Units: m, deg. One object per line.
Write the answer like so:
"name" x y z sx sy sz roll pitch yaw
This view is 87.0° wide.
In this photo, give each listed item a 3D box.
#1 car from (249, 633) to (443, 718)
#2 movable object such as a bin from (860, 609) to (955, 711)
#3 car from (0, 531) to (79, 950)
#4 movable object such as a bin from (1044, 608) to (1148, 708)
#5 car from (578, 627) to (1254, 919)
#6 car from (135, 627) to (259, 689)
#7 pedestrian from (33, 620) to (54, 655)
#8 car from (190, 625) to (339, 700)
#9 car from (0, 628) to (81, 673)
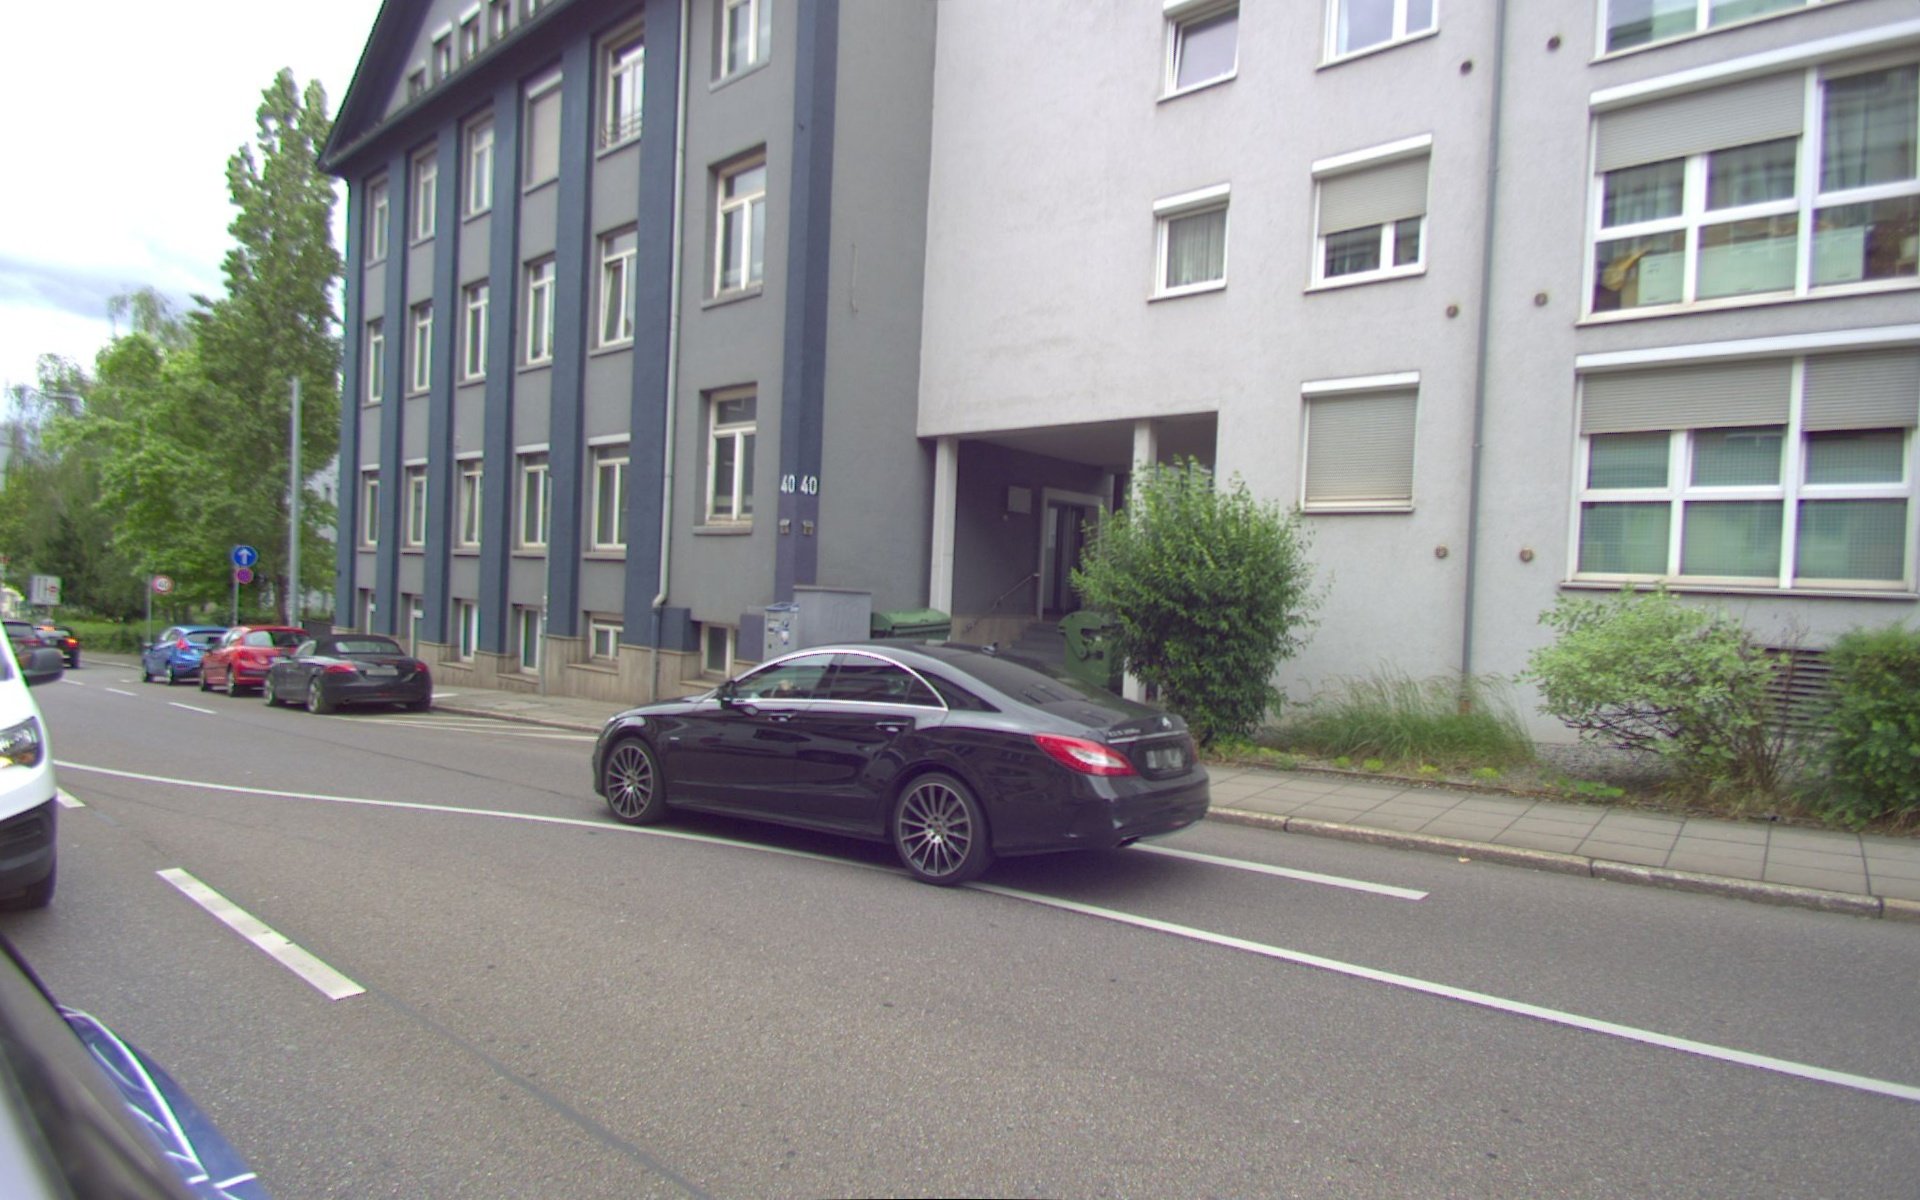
"car" -11.041 1.301 18.098 4.038 1.337 1.702 -1 -4 40
"movable object such as a bin" -0.798 0.896 15.674 0.784 1.467 1.251 0 1 44
"car" -6.448 0.657 5.550 4.937 1.821 1.816 -1 0 42
"movable object such as a bin" 2.240 0.929 16.663 1.190 1.489 1.132 5 2 41
"car" -0.509 0.949 7.145 4.660 1.429 1.769 -1 -4 36
"car" -19.415 1.435 25.713 3.724 1.465 1.702 -1 -3 40
"pedestrian" -49.234 1.999 54.363 0.776 1.864 0.736 -2 -1 42
"car" -15.273 1.335 22.154 3.868 1.485 1.796 -2 -4 42
"car" -30.766 1.662 33.760 3.793 1.411 1.655 -1 -4 41
